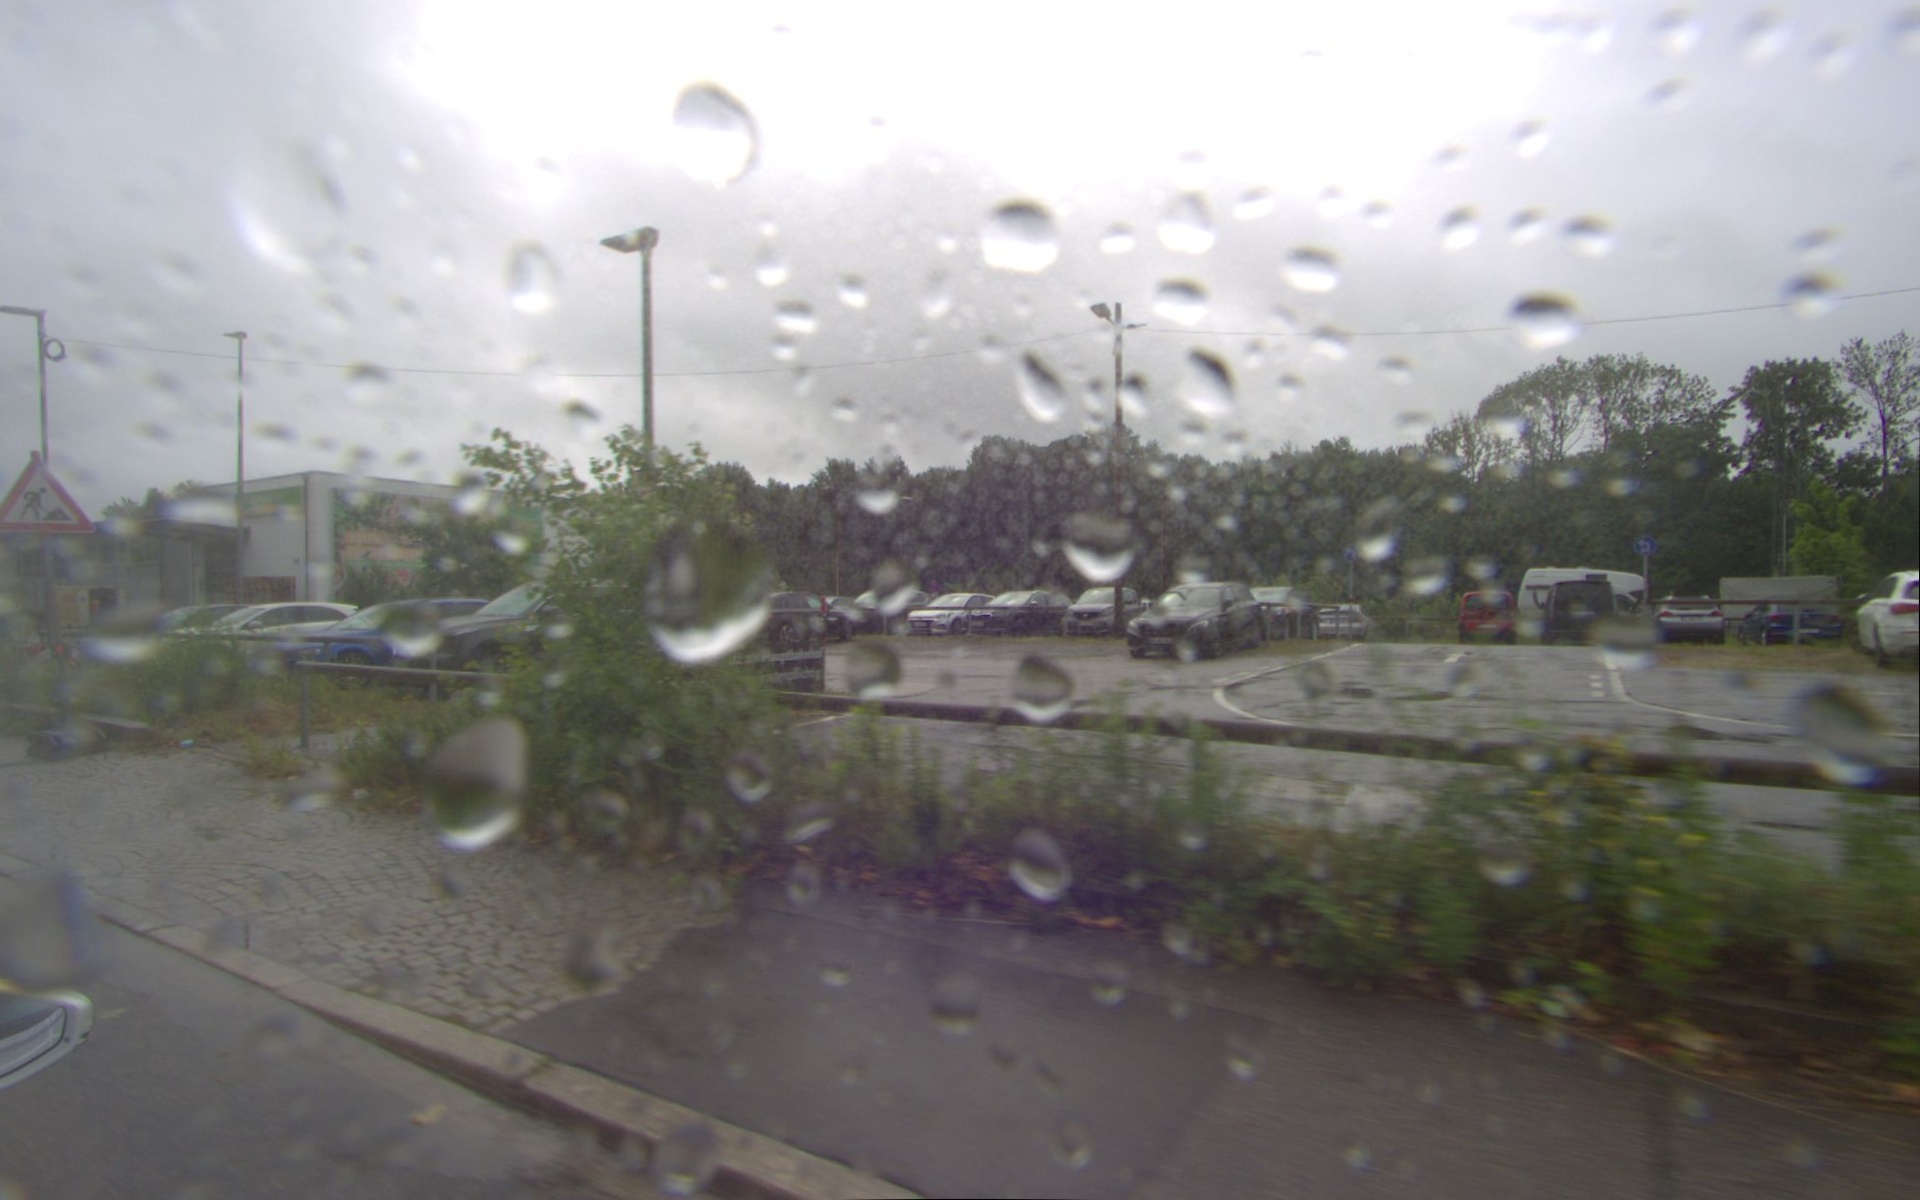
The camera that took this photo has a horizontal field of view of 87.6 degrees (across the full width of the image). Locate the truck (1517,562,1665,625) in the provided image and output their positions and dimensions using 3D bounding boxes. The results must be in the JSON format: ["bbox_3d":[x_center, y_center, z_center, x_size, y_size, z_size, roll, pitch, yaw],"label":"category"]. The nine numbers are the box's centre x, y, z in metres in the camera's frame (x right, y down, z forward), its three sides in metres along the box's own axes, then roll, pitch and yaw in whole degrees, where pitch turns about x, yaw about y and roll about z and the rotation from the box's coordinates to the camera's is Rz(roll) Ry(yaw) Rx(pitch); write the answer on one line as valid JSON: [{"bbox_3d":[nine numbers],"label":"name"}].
[{"bbox_3d":[25.864,-0.258,41.200,5.011,2.434,2.067,0,1,33],"label":"truck"}]

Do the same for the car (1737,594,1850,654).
[{"bbox_3d":[24.075,0.639,29.080,1.992,1.610,4.308,0,0,33],"label":"car"}]

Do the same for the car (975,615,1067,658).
[{"bbox_3d":[2.662,1.500,42.631,1.914,1.589,4.576,1,1,33],"label":"car"}]

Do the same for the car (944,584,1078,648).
[{"bbox_3d":[1.607,0.438,29.676,2.015,1.627,4.430,-2,1,32],"label":"car"}]

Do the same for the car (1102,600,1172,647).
[{"bbox_3d":[7.102,0.906,39.901,1.866,1.751,3.988,0,0,23],"label":"car"}]

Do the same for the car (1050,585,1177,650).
[{"bbox_3d":[4.549,0.477,29.079,2.015,1.627,4.430,-2,1,32],"label":"car"}]

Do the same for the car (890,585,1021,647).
[{"bbox_3d":[-0.054,0.467,31.547,2.015,1.694,4.430,-2,1,32],"label":"car"}]

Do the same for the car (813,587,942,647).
[{"bbox_3d":[-2.609,0.508,32.766,2.013,1.694,4.433,-2,1,30],"label":"car"}]

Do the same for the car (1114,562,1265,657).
[{"bbox_3d":[4.902,0.166,20.885,1.987,1.739,4.616,-1,0,27],"label":"car"}]

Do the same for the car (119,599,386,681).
[{"bbox_3d":[-14.574,0.798,20.851,1.864,1.529,4.173,-2,-2,33],"label":"car"}]

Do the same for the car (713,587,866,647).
[{"bbox_3d":[-4.606,0.495,27.488,1.973,1.504,3.978,-2,-2,33],"label":"car"}]

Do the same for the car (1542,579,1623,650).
[{"bbox_3d":[19.378,0.400,31.154,1.992,2.025,4.773,0,0,33],"label":"car"}]

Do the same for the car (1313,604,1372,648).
[{"bbox_3d":[13.585,0.882,35.446,1.761,1.419,3.988,0,0,24],"label":"car"}]

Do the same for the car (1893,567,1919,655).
[{"bbox_3d":[18.941,0.210,18.350,1.901,1.627,4.688,-2,1,33],"label":"car"}]

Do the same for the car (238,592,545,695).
[{"bbox_3d":[-9.610,0.708,17.284,1.794,1.536,4.286,-2,-2,33],"label":"car"}]

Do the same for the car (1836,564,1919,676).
[{"bbox_3d":[14.953,0.226,15.325,1.903,1.504,3.816,-2,1,35],"label":"car"}]

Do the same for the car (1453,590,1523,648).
[{"bbox_3d":[17.407,0.574,33.181,1.761,1.792,3.988,0,0,24],"label":"car"}]

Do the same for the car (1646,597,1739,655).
[{"bbox_3d":[22.062,0.717,30.328,1.992,1.610,4.308,0,0,33],"label":"car"}]

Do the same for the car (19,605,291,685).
[{"bbox_3d":[-17.444,0.916,21.948,1.860,1.419,4.215,-1,2,25],"label":"car"}]

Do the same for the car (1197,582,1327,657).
[{"bbox_3d":[7.835,0.447,25.663,2.015,1.627,4.690,-2,1,32],"label":"car"}]

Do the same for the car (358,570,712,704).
[{"bbox_3d":[-6.423,0.491,15.650,2.101,1.758,4.664,-2,0,37],"label":"car"}]

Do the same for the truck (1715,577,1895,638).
[{"bbox_3d":[31.482,0.266,37.551,5.019,2.167,2.064,0,1,38],"label":"truck"}]

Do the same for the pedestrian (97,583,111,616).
[{"bbox_3d":[-45.248,-0.017,52.942,0.427,1.741,0.453,1,2,36],"label":"pedestrian"}]

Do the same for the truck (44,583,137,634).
[{"bbox_3d":[-48.217,0.432,55.468,7.318,2.695,2.293,0,2,36],"label":"truck"}]

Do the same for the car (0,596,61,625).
[{"bbox_3d":[-61.142,0.665,64.562,2.034,1.857,4.350,1,1,34],"label":"car"}]
